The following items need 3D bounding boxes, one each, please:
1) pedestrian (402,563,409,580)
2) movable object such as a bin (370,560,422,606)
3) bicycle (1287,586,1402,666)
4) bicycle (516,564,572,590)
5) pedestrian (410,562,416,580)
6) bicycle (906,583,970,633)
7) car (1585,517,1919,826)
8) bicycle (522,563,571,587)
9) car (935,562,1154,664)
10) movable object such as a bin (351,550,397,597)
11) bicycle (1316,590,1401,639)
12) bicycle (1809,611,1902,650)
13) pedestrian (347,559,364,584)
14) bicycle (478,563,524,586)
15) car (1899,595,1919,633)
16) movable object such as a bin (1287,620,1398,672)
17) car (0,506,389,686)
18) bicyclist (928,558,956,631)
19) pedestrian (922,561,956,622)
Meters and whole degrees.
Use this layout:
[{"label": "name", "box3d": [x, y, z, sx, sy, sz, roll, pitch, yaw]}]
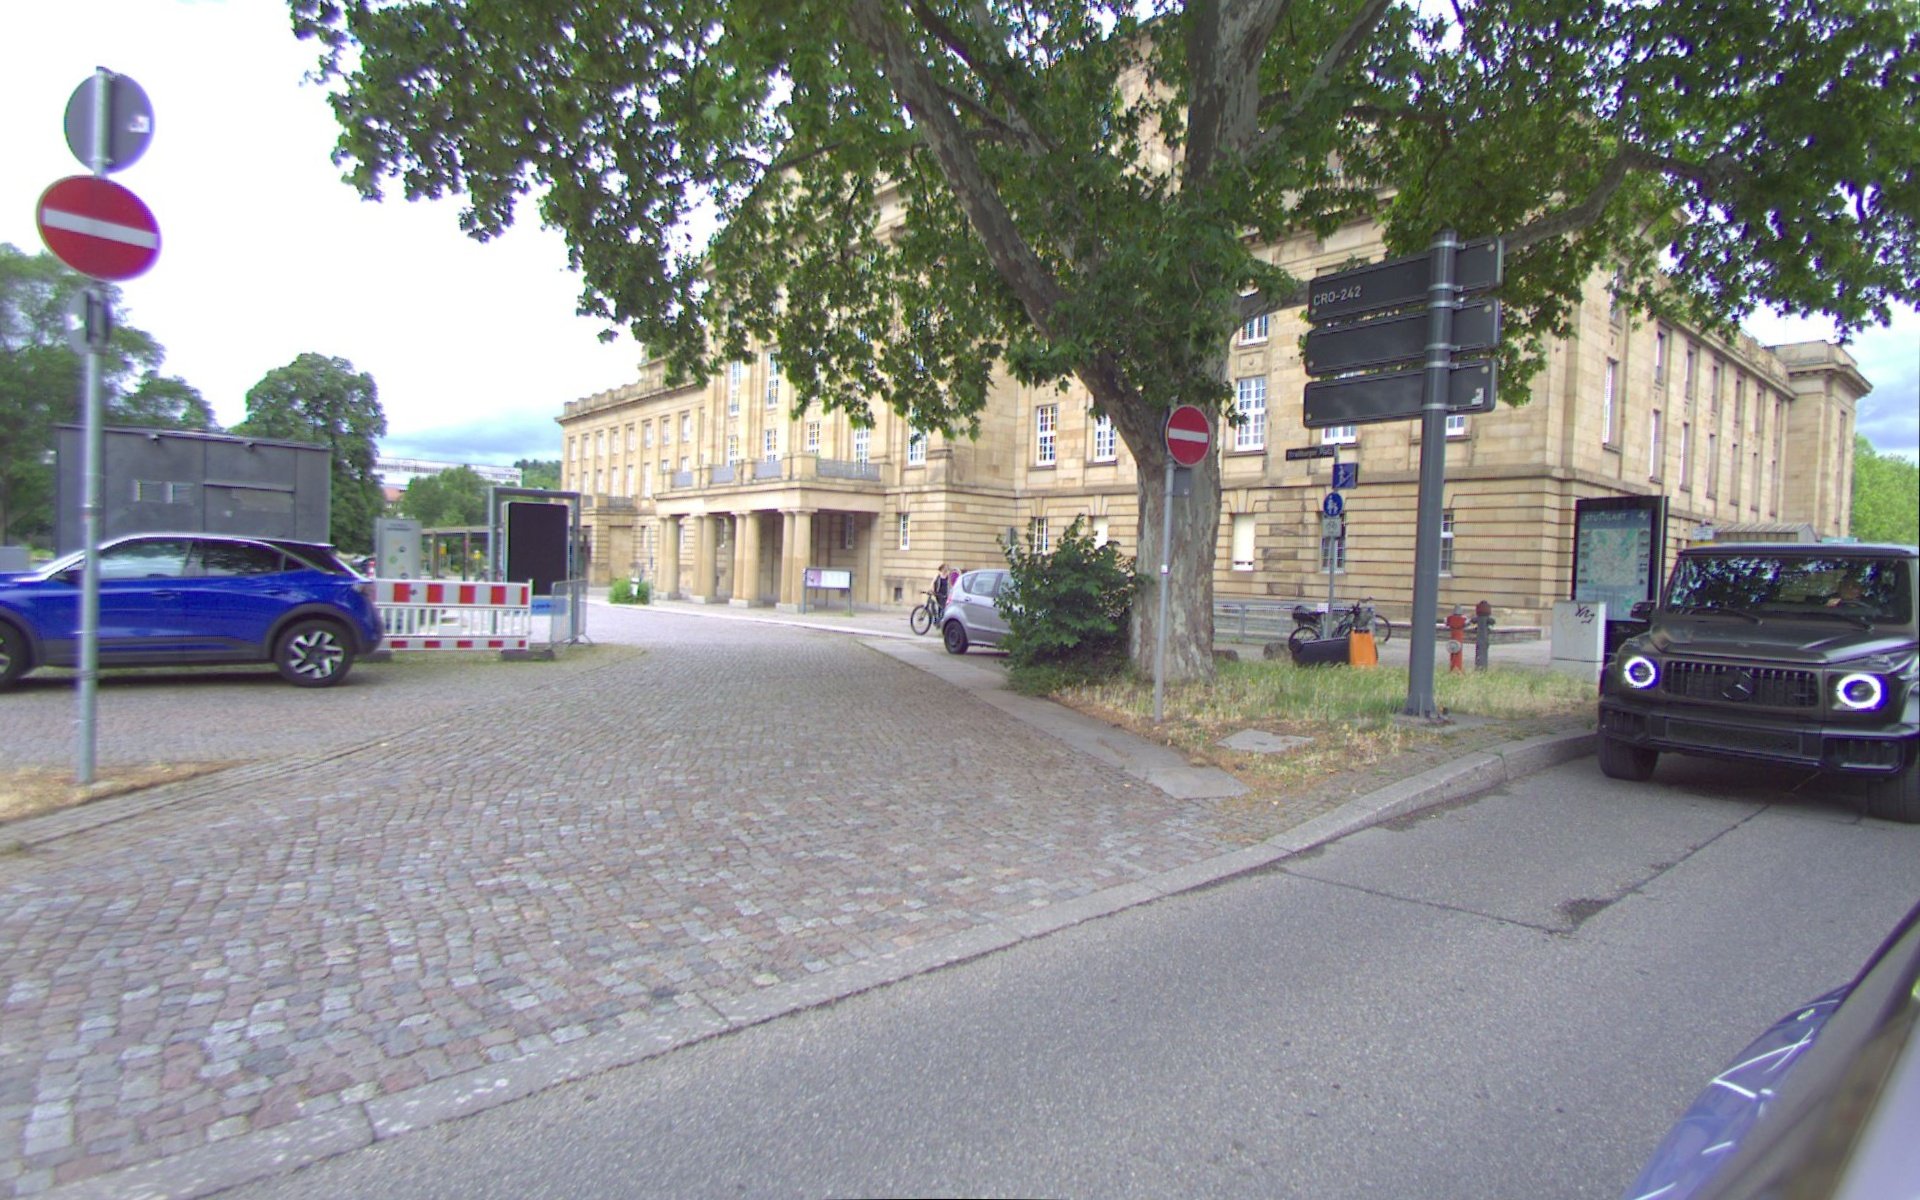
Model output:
[{"label": "pedestrian", "box3d": [-57.287, -2.940, 104.606, 0.534, 1.828, 0.654, 0, 0, -23]}, {"label": "movable object such as a bin", "box3d": [-16.709, -0.500, 29.978, 1.132, 1.320, 1.413, 0, 2, -38]}, {"label": "bicycle", "box3d": [6.434, 0.402, 17.013, 0.483, 1.236, 1.790, 1, 1, -37]}, {"label": "bicycle", "box3d": [-23.768, -1.316, 57.885, 2.852, 1.443, 0.959, -1, 0, -45]}, {"label": "pedestrian", "box3d": [-56.363, -2.941, 104.288, 0.534, 1.828, 0.654, 0, 0, -23]}, {"label": "bicycle", "box3d": [-0.565, 0.188, 25.038, 1.749, 1.146, 0.437, 3, 2, 43]}, {"label": "car", "box3d": [7.110, 0.418, 8.477, 4.322, 1.949, 1.951, 0, 2, -41]}, {"label": "bicycle", "box3d": [-23.630, -1.415, 57.859, 2.533, 1.362, 0.726, -1, 0, -41]}, {"label": "car", "box3d": [1.404, 0.152, 18.037, 1.649, 1.588, 3.844, 0, 2, -40]}, {"label": "movable object such as a bin", "box3d": [-19.515, -0.888, 33.677, 1.132, 1.515, 1.413, 0, 2, -38]}, {"label": "bicycle", "box3d": [9.988, 0.348, 25.415, 0.382, 1.139, 2.015, 0, 2, -40]}, {"label": "bicycle", "box3d": [23.669, 0.792, 26.780, 0.601, 0.928, 1.738, 1, 2, -22]}, {"label": "pedestrian", "box3d": [-44.455, -2.097, 74.372, 0.539, 1.828, 0.939, 0, 0, 22]}, {"label": "bicycle", "box3d": [-28.274, -1.546, 62.376, 2.533, 1.362, 0.726, -1, 0, -41]}, {"label": "car", "box3d": [40.150, 0.578, 41.778, 3.791, 1.473, 1.619, 0, 3, -42]}, {"label": "movable object such as a bin", "box3d": [5.388, 0.630, 14.311, 0.714, 0.660, 1.304, -1, 1, -31]}, {"label": "car", "box3d": [-8.143, -0.025, 10.143, 3.952, 1.571, 1.765, 3, 0, -38]}, {"label": "bicyclist", "box3d": [-0.439, -0.142, 24.727, 0.436, 1.770, 0.468, 2, 1, 42]}, {"label": "pedestrian", "box3d": [-0.617, -0.261, 29.534, 0.692, 1.743, 0.680, 1, 1, -42]}]
